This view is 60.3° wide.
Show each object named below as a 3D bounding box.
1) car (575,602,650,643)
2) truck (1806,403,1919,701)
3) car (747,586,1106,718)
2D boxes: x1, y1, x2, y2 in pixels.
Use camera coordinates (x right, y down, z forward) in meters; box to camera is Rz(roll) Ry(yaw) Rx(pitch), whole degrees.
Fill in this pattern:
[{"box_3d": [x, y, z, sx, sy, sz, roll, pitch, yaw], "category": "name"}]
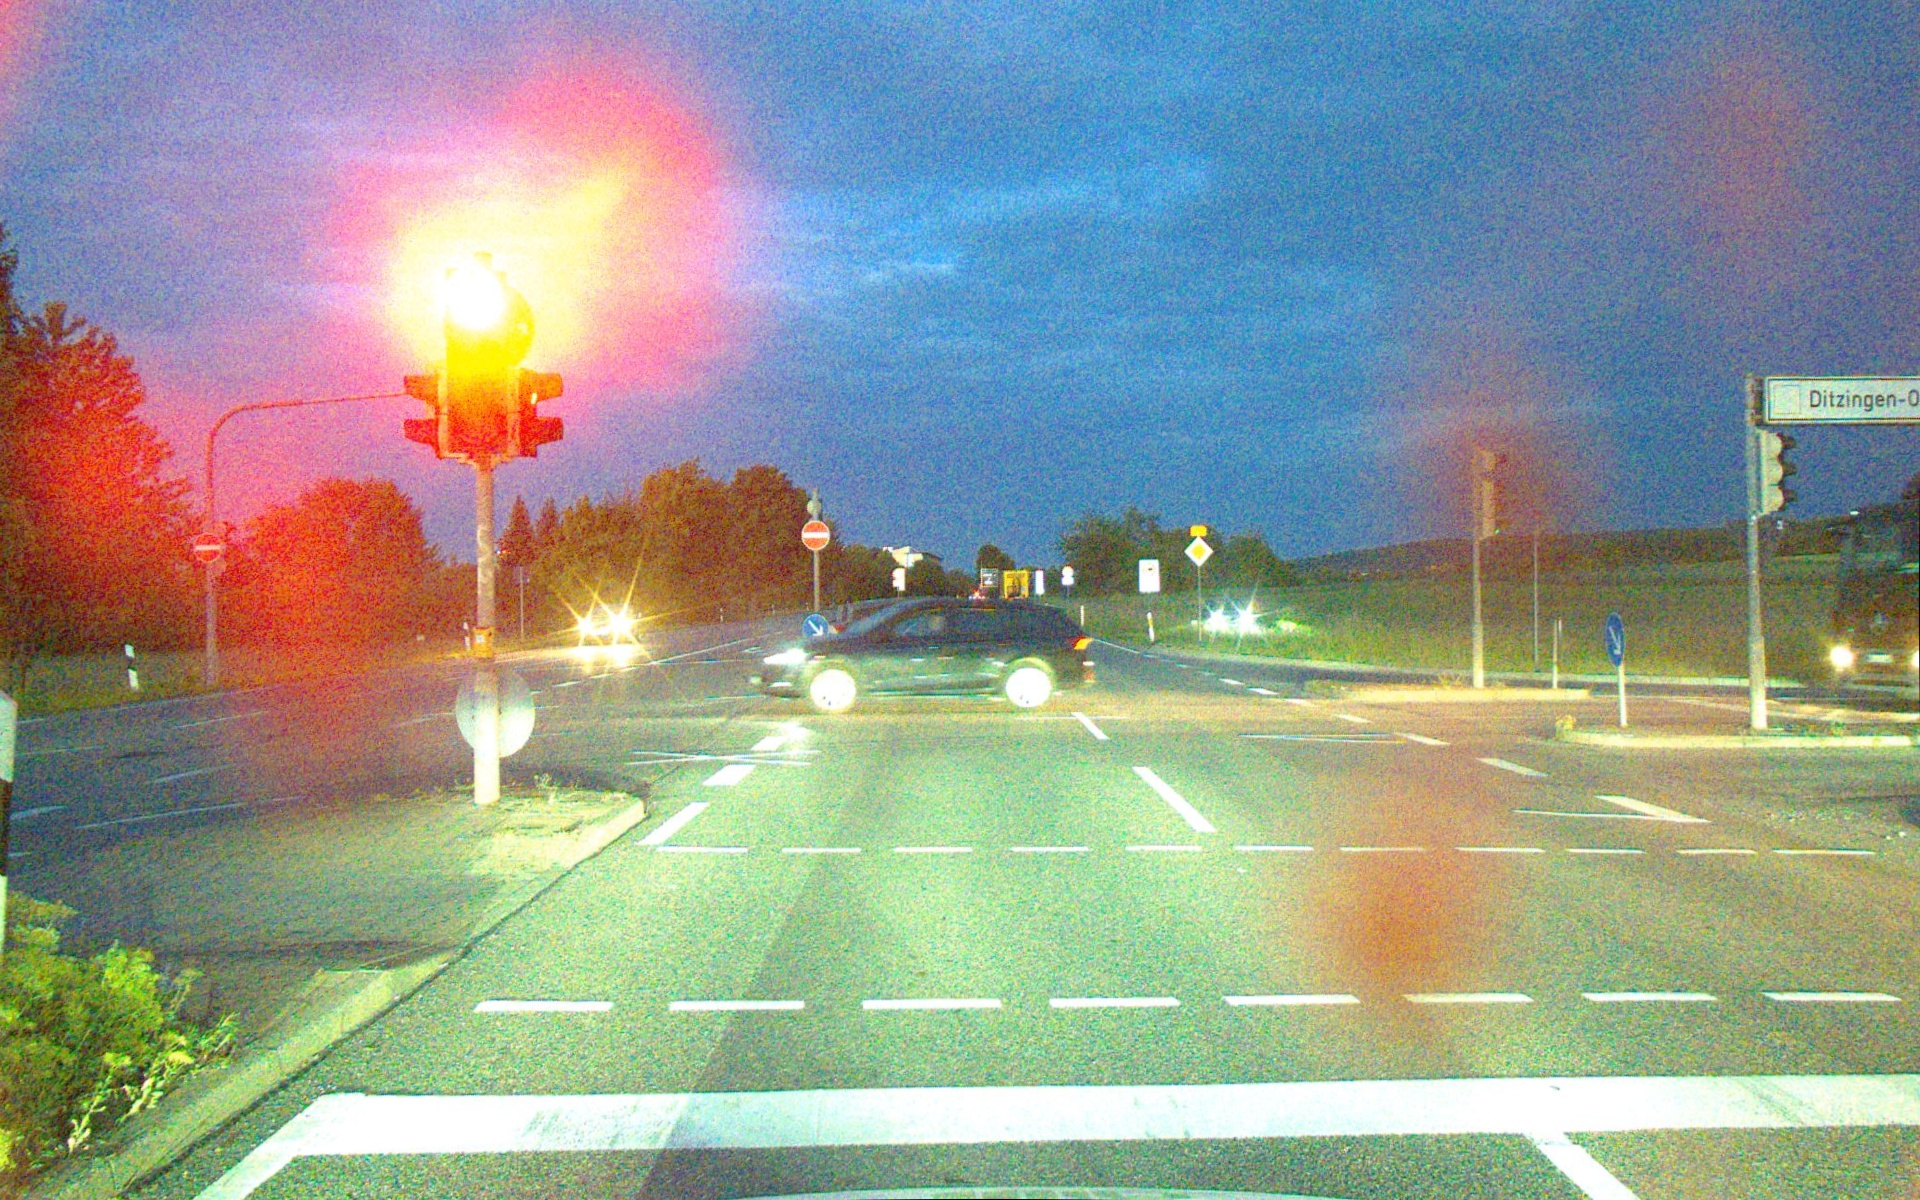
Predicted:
[{"box_3d": [-12.897, 0.802, 61.589, 1.953, 1.411, 3.999, -1, 0, -1], "category": "car"}, {"box_3d": [17.821, -0.736, 24.091, 9.849, 4.049, 2.920, -1, 0, -7], "category": "truck"}, {"box_3d": [-0.499, 0.650, 22.333, 4.523, 1.547, 1.993, -2, 0, -14], "category": "car"}]
